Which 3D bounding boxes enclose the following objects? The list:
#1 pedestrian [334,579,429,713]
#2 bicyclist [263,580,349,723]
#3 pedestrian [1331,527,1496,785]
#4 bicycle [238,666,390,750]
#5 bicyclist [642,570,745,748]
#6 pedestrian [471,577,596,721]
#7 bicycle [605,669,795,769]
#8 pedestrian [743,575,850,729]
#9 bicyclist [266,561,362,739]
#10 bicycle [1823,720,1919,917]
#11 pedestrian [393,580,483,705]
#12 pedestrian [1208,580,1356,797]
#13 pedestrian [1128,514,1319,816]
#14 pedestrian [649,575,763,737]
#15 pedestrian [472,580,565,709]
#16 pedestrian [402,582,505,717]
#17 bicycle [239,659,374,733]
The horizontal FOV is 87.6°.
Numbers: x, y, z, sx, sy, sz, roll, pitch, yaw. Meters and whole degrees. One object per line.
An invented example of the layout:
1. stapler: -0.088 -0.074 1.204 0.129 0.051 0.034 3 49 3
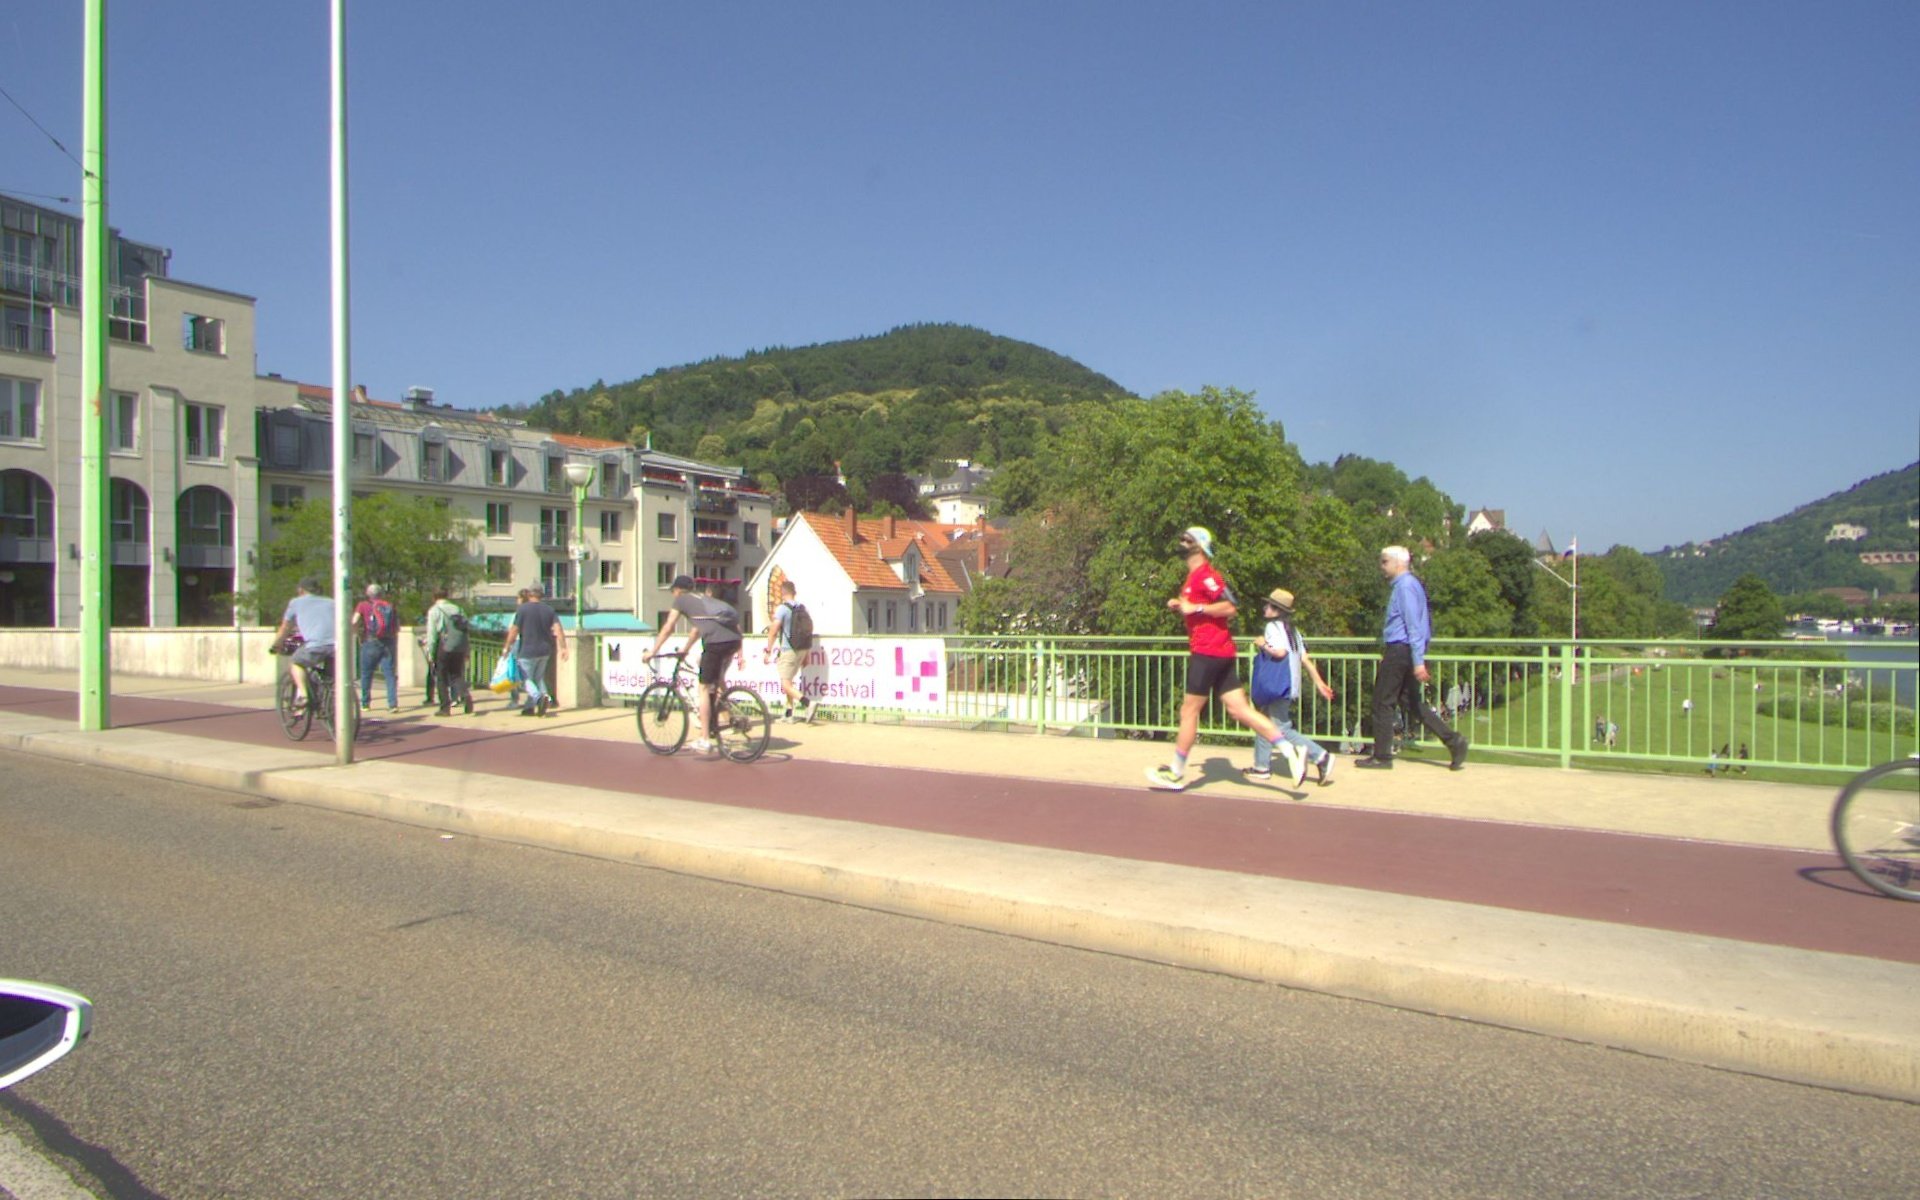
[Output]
1. pedestrian: -8.210 0.626 14.211 1.001 1.826 0.737 0 2 32
2. bicyclist: -7.898 0.603 12.095 0.691 1.672 0.586 0 1 30
3. pedestrian: 3.697 0.425 8.142 1.120 1.923 0.924 0 1 32
4. bicycle: -6.988 1.136 10.809 1.838 0.776 0.593 -1 1 30
5. bicyclist: -2.470 0.525 9.299 0.691 1.579 0.586 0 1 30
6. pedestrian: -5.634 0.608 13.241 1.190 1.801 0.975 0 2 32
7. bicycle: -2.432 1.068 9.294 1.804 0.776 0.593 -1 1 30
8. pedestrian: -1.943 0.596 11.907 1.001 1.741 0.738 0 1 32
9. bicyclist: -6.942 0.522 10.765 0.691 1.844 0.586 0 1 30
10. bicycle: 4.886 0.974 4.204 1.840 0.776 0.592 -1 1 33
11. pedestrian: -7.780 0.610 14.922 1.001 1.801 0.737 0 2 32
12. pedestrian: 2.495 0.631 7.727 0.919 1.550 0.827 0 2 32
13. pedestrian: 1.873 0.424 7.085 1.111 1.950 0.809 0 1 32
14. pedestrian: -2.875 0.605 11.350 1.001 1.741 0.737 0 2 32
15. pedestrian: -6.326 0.612 14.353 1.001 1.770 0.737 0 2 32
16. pedestrian: -6.834 0.639 13.517 1.057 1.741 0.753 0 2 32
17. bicycle: -7.929 1.142 12.125 1.838 0.776 0.593 -1 1 30
